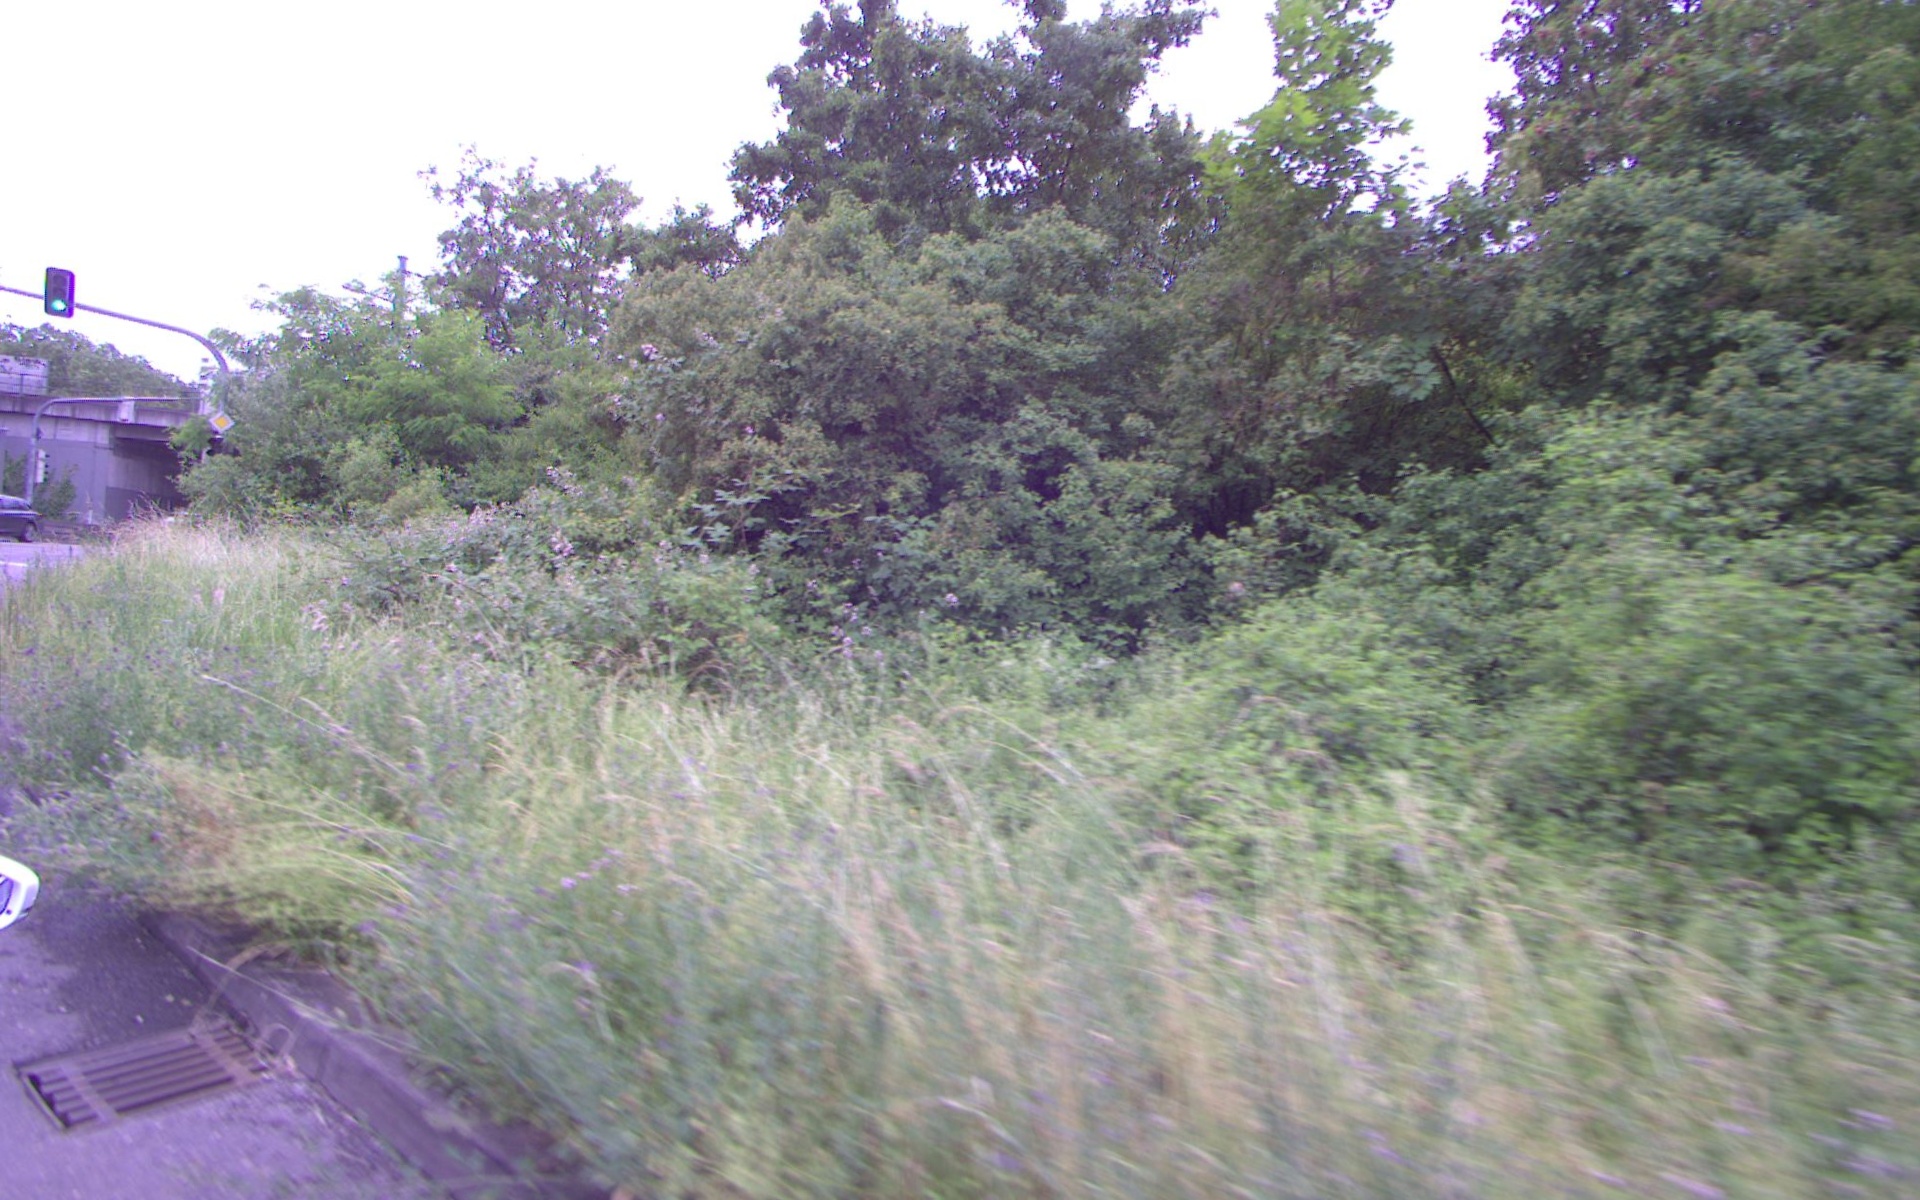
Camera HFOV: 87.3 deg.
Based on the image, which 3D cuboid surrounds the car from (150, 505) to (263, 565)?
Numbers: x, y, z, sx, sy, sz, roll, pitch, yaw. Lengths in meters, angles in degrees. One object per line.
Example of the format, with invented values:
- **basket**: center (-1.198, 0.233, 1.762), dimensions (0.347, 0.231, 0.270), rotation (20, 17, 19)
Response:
- **car**: center (-24.868, -2.080, 33.364), dimensions (1.882, 1.483, 3.981), rotation (9, -2, -22)

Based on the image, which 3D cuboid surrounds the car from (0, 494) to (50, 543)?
- **car**: center (-31.167, -2.706, 31.544), dimensions (1.741, 1.438, 4.413), rotation (6, 0, -10)
